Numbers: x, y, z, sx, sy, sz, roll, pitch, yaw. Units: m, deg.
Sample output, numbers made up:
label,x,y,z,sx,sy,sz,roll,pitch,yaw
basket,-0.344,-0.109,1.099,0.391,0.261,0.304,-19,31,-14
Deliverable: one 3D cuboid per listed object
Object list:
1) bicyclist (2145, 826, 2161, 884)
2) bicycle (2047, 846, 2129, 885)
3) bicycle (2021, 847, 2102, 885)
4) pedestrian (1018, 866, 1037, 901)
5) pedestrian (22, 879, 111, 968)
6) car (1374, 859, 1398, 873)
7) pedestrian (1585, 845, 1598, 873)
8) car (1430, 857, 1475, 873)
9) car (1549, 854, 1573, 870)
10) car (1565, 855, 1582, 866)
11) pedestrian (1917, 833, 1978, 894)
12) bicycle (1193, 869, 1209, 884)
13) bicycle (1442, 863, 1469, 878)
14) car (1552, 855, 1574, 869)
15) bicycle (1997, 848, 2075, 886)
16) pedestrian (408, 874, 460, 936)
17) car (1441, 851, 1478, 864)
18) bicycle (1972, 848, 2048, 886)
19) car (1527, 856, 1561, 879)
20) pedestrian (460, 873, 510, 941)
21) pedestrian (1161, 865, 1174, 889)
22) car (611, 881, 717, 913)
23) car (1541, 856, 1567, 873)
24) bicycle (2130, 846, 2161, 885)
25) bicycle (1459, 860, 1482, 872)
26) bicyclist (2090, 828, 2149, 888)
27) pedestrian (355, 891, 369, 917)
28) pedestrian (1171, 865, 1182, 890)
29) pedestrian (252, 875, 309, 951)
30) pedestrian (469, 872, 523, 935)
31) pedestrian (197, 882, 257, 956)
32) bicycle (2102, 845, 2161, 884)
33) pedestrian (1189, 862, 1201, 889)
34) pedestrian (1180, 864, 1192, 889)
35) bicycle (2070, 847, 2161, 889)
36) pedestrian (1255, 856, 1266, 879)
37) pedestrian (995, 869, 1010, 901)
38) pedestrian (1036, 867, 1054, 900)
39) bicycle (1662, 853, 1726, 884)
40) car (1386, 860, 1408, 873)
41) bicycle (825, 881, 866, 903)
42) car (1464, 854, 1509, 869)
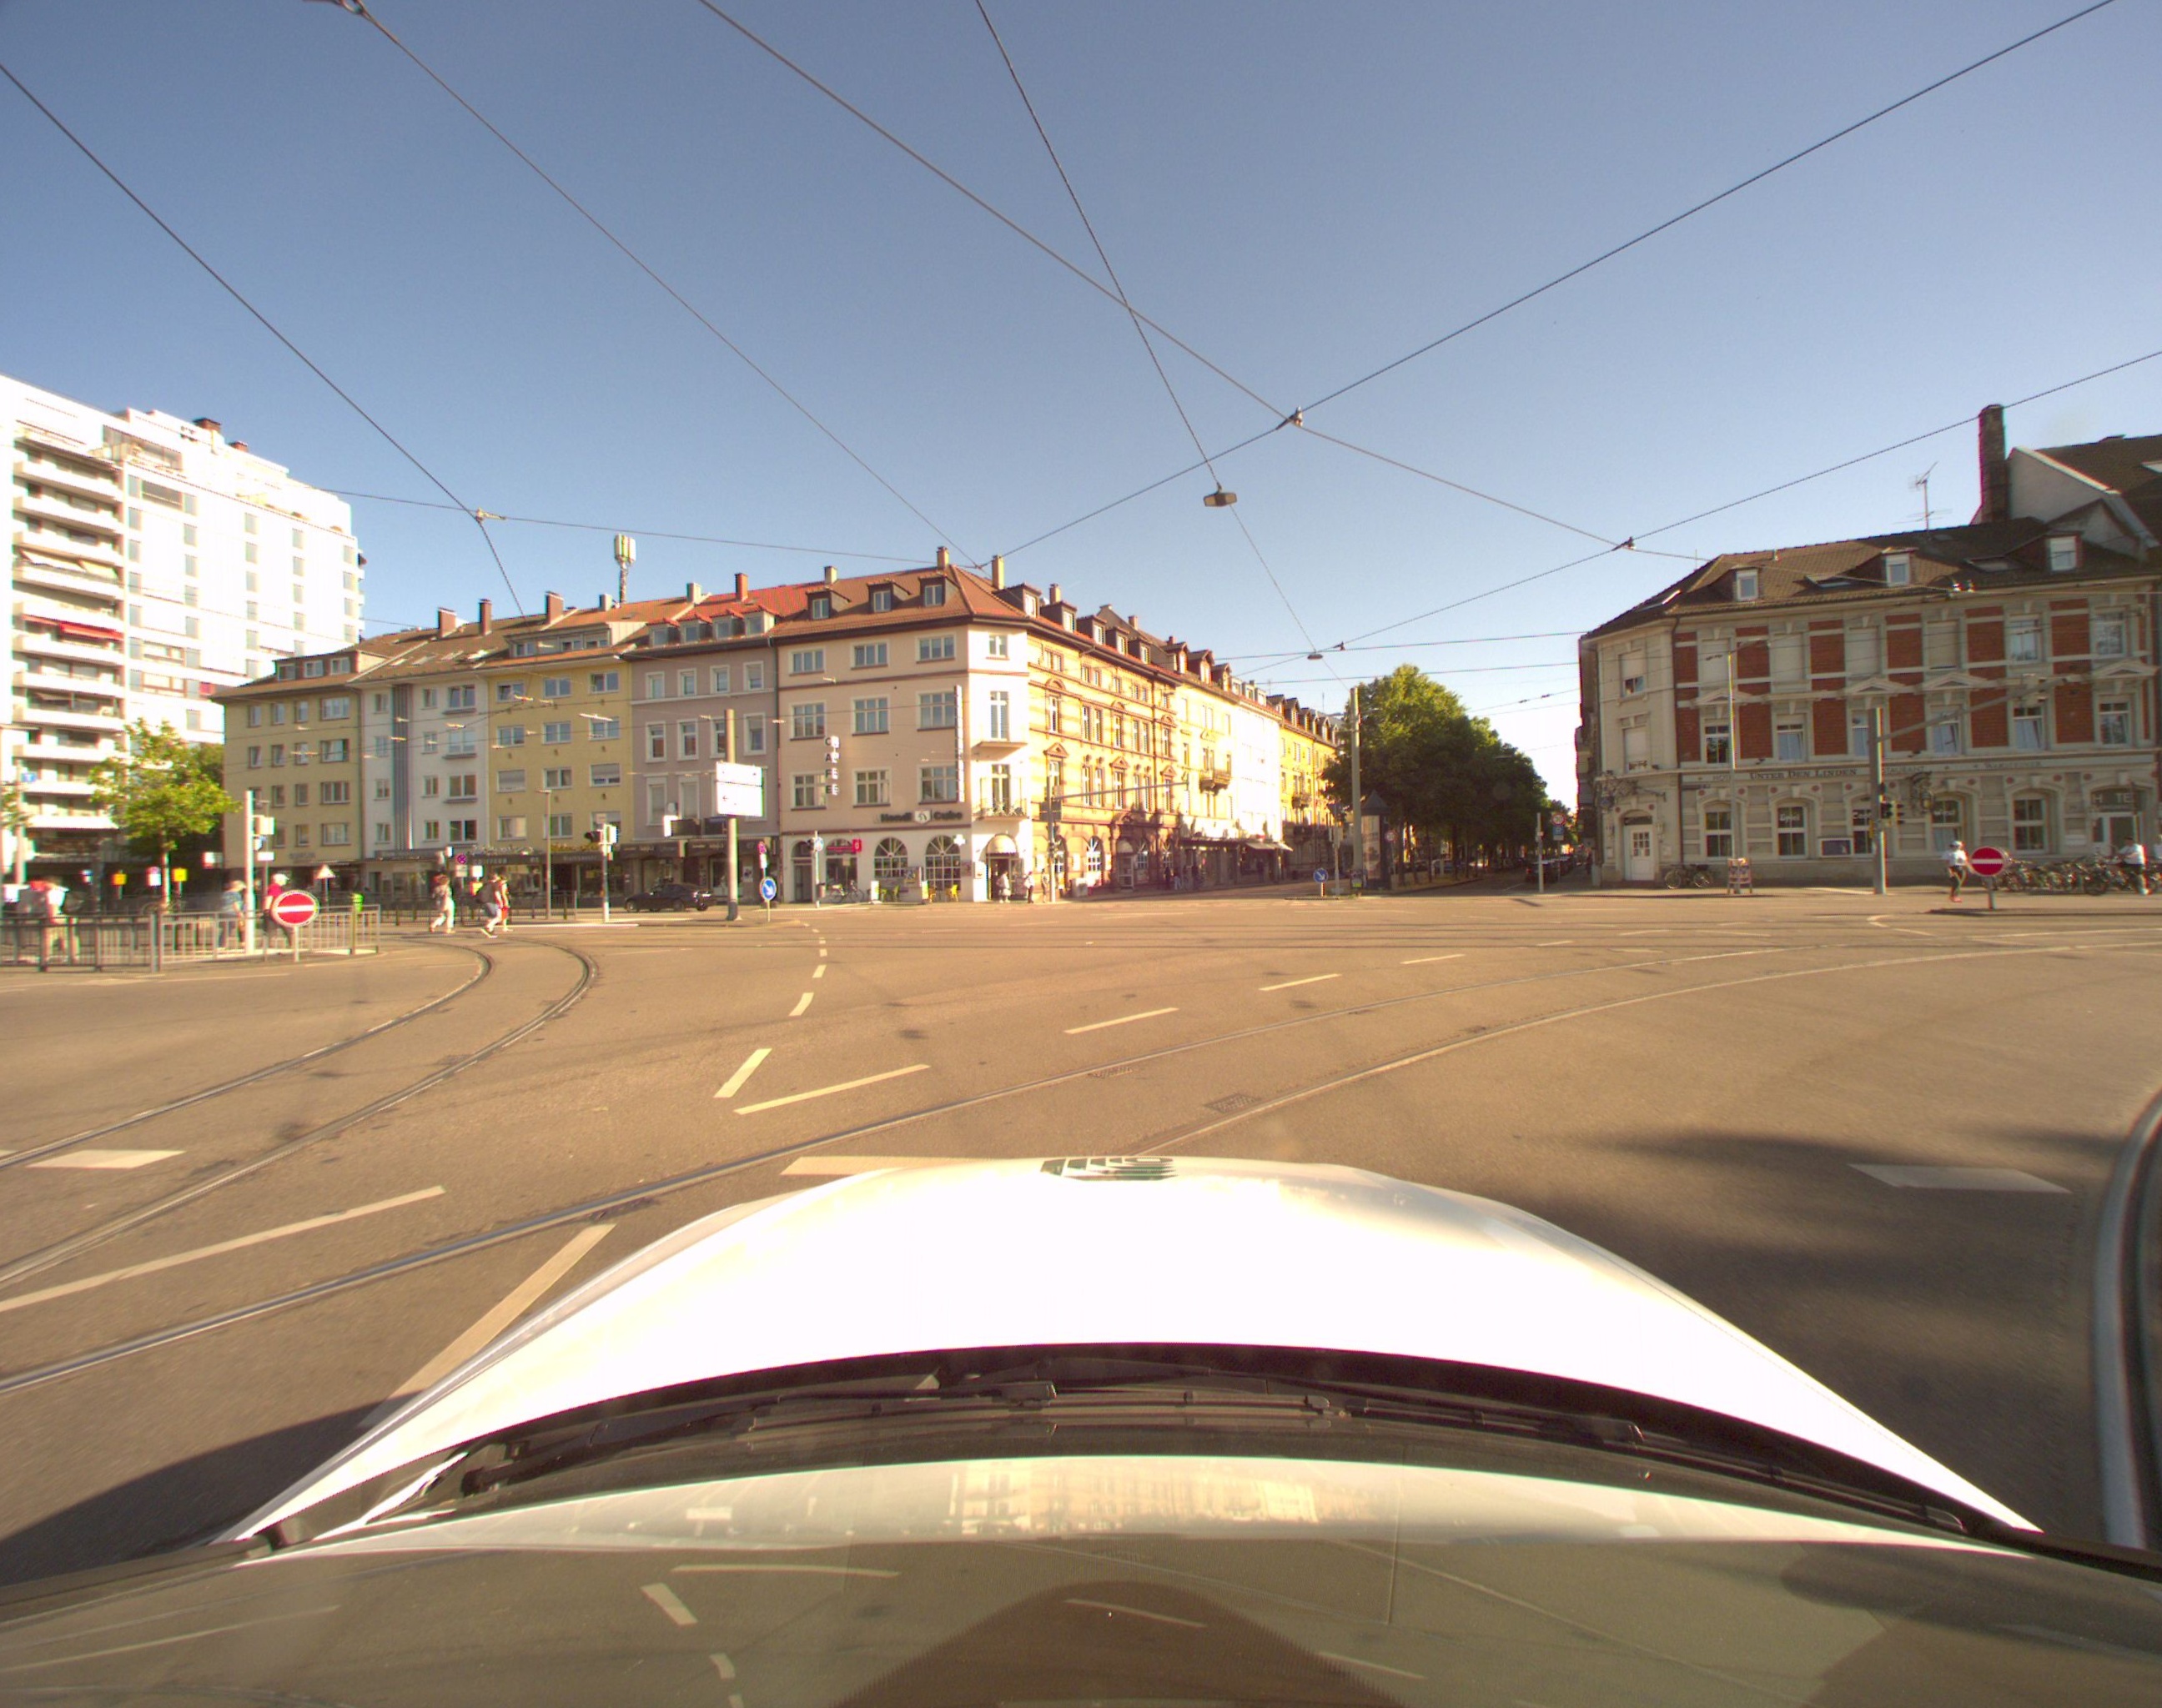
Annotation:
label,x,y,z,sx,sy,sz,roll,pitch,yaw
bicyclist,33.464,0.018,24.918,0.898,1.764,0.603,-2,-1,8
bicycle,32.733,0.359,26.513,0.672,1.191,1.976,-2,-1,17
bicycle,32.089,0.388,26.696,0.672,1.191,1.976,-2,-1,17
pedestrian,-2.549,1.420,38.822,0.669,1.642,0.582,-2,-1,29
pedestrian,-20.849,1.410,16.756,0.822,1.733,0.785,-1,-1,-13
car,36.606,1.444,97.695,1.974,1.497,4.059,-2,-1,30
pedestrian,31.134,0.301,49.684,0.585,1.643,0.581,-2,-9,35
car,40.751,1.218,89.352,3.949,1.545,2.012,-2,-1,44
car,51.317,0.848,86.987,1.974,1.497,4.059,-2,-1,33
car,74.379,0.956,122.909,1.974,1.497,4.059,-2,-1,33
pedestrian,24.346,0.269,22.903,0.711,1.669,0.942,-2,-1,10
bicycle,8.932,1.654,60.440,0.490,1.067,1.781,-2,-1,32
bicycle,27.032,1.186,58.843,0.584,1.067,1.936,-1,-1,-21
car,55.307,0.863,93.384,1.974,1.497,4.059,-2,-1,33
bicycle,31.465,0.402,26.866,0.672,1.191,1.976,-2,-1,17
pedestrian,-18.438,1.443,23.208,0.780,1.733,0.827,-2,-1,16
car,49.437,0.499,106.481,3.949,1.545,2.012,-2,-1,44
bicycle,30.784,0.418,27.024,0.672,1.191,1.976,-2,-1,17
car,32.412,0.925,57.022,1.974,1.497,4.059,-2,-1,30
pedestrian,-15.664,1.371,21.420,0.649,1.733,0.802,-2,-1,5
pedestrian,5.828,1.551,54.877,0.621,1.642,0.541,-2,-1,28
car,-20.745,2.136,40.529,4.608,1.440,1.750,-2,-1,12
car,46.089,0.999,79.370,1.974,1.497,4.059,-2,-1,33
bicycle,33.580,0.331,24.902,1.949,1.191,0.603,-2,-1,8
bicycle,35.282,1.083,73.759,0.584,1.067,1.936,-1,-1,-21
bicyclist,31.308,0.113,24.567,0.866,1.764,0.604,-2,-1,18
pedestrian,-44.625,3.106,50.534,0.460,1.562,0.510,-2,-1,18
pedestrian,6.395,1.555,54.685,0.545,1.642,0.541,-2,-1,26
pedestrian,-18.927,1.365,19.253,0.814,1.724,0.854,-2,-1,37
pedestrian,-16.727,1.403,23.303,0.832,1.733,0.908,-2,-1,13
pedestrian,-19.907,1.493,18.985,0.854,1.631,0.813,-2,-1,33
bicycle,33.815,0.332,25.804,1.952,1.191,0.680,-2,-1,4
pedestrian,7.734,1.451,55.179,0.574,1.836,0.637,-2,-1,31
pedestrian,7.057,1.531,54.868,0.545,1.642,0.637,-2,-1,27
bicycle,31.359,0.415,24.546,1.945,1.191,0.604,-2,-1,18
pedestrian,15.145,1.121,68.561,0.675,1.908,0.637,-2,-1,31
pedestrian,-3.855,1.519,40.175,0.656,1.524,0.695,-2,-1,-2
pedestrian,-1.776,1.455,40.162,0.625,1.642,0.556,-2,-1,29
bicycle,24.706,0.603,32.859,1.944,1.191,0.549,-2,-1,20
car,41.066,1.584,105.763,1.974,1.497,4.059,-2,-1,30
bicycle,-12.217,1.942,42.185,1.932,1.067,0.585,-2,-1,8
car,44.400,0.795,89.270,2.011,1.545,3.951,-1,-1,-44
